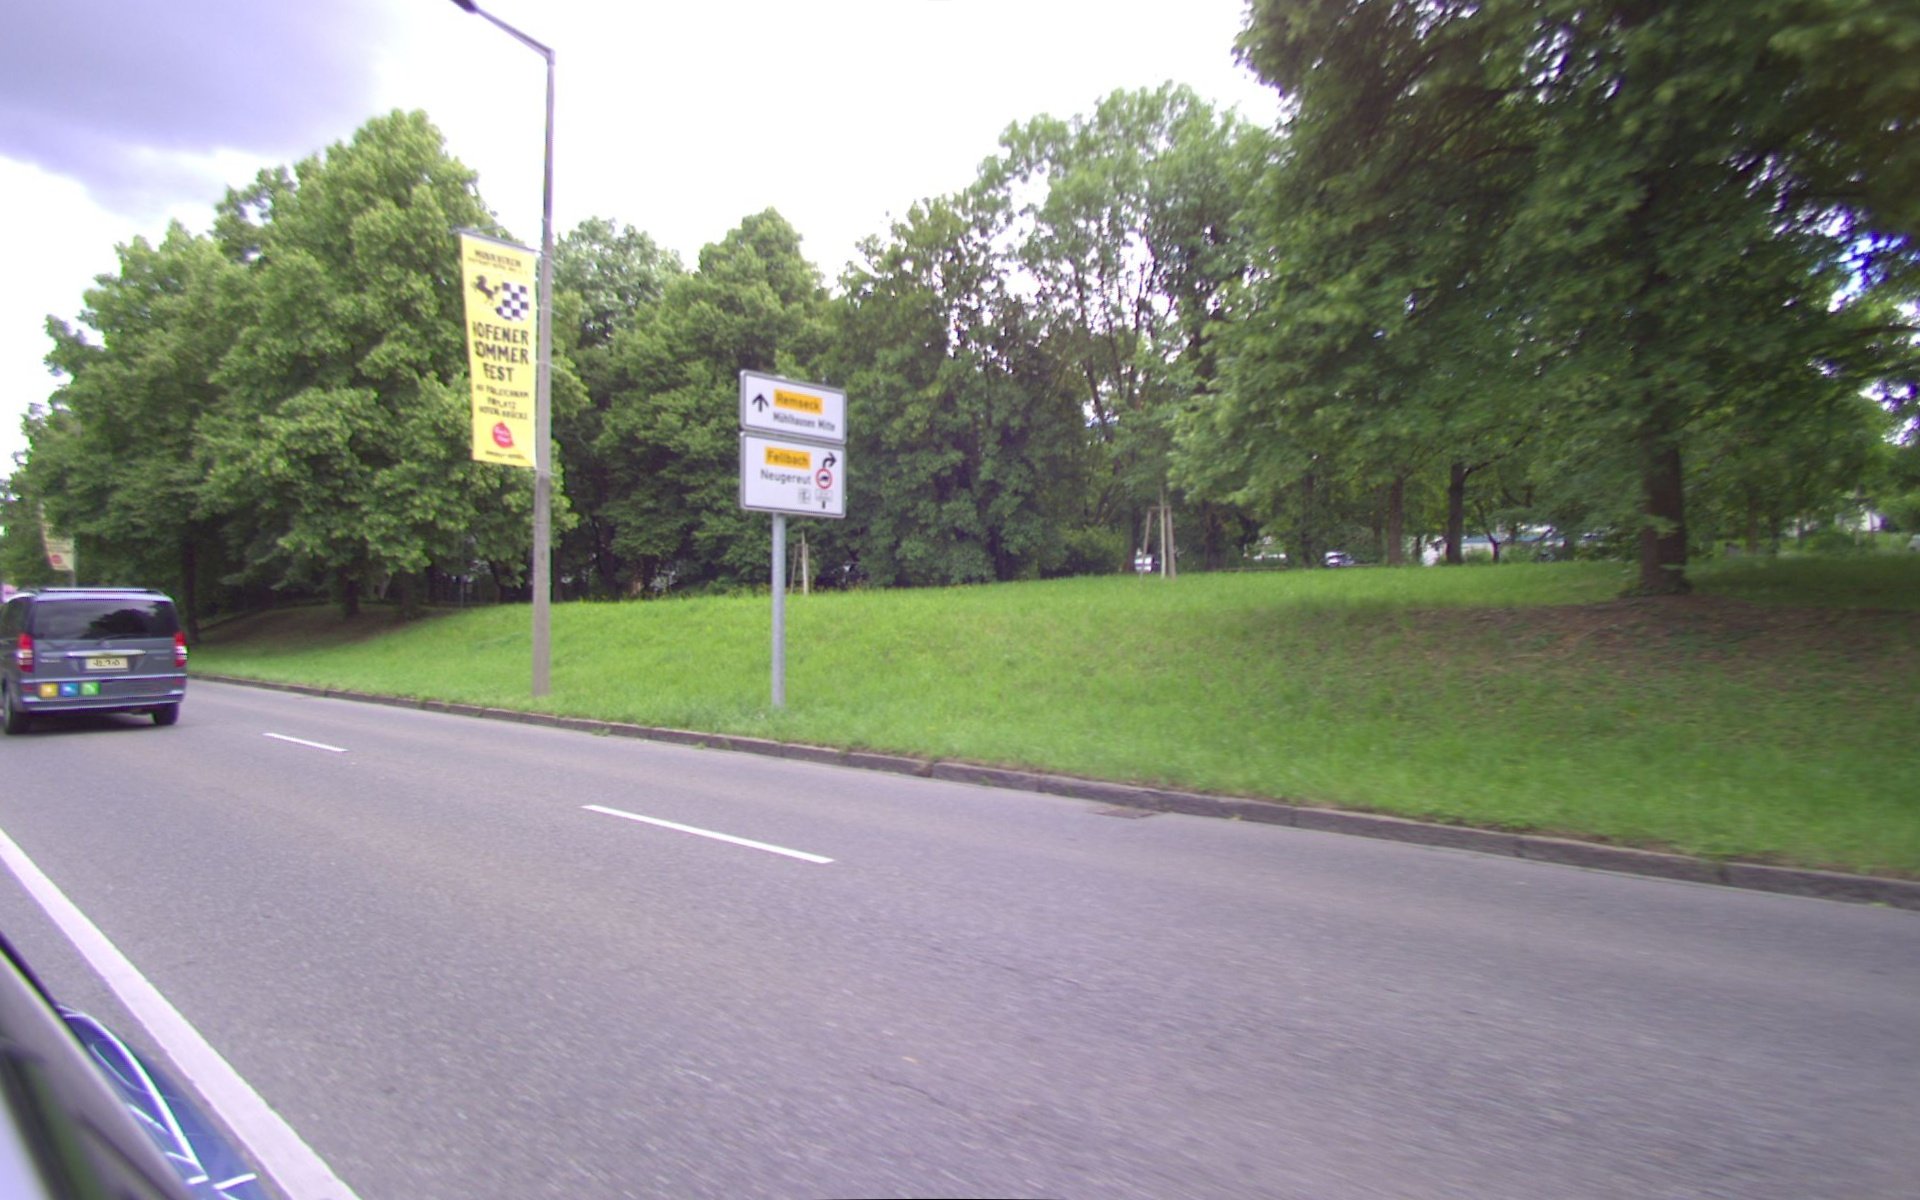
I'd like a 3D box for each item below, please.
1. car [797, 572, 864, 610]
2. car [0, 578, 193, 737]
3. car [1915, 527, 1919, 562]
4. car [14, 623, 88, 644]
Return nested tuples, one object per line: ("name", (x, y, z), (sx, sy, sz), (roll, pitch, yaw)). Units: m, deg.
("car", (-6.880, -0.463, 54.320), (1.980, 1.910, 4.884), (-1, 0, 13))
("car", (-13.235, 0.758, 14.998), (5.181, 1.970, 1.972), (-1, -2, 41))
("car", (35.217, -2.025, 35.123), (1.385, 1.243, 3.495), (-1, 0, 12))
("car", (-72.588, 2.654, 80.865), (1.746, 1.503, 4.169), (-3, -2, 37))
